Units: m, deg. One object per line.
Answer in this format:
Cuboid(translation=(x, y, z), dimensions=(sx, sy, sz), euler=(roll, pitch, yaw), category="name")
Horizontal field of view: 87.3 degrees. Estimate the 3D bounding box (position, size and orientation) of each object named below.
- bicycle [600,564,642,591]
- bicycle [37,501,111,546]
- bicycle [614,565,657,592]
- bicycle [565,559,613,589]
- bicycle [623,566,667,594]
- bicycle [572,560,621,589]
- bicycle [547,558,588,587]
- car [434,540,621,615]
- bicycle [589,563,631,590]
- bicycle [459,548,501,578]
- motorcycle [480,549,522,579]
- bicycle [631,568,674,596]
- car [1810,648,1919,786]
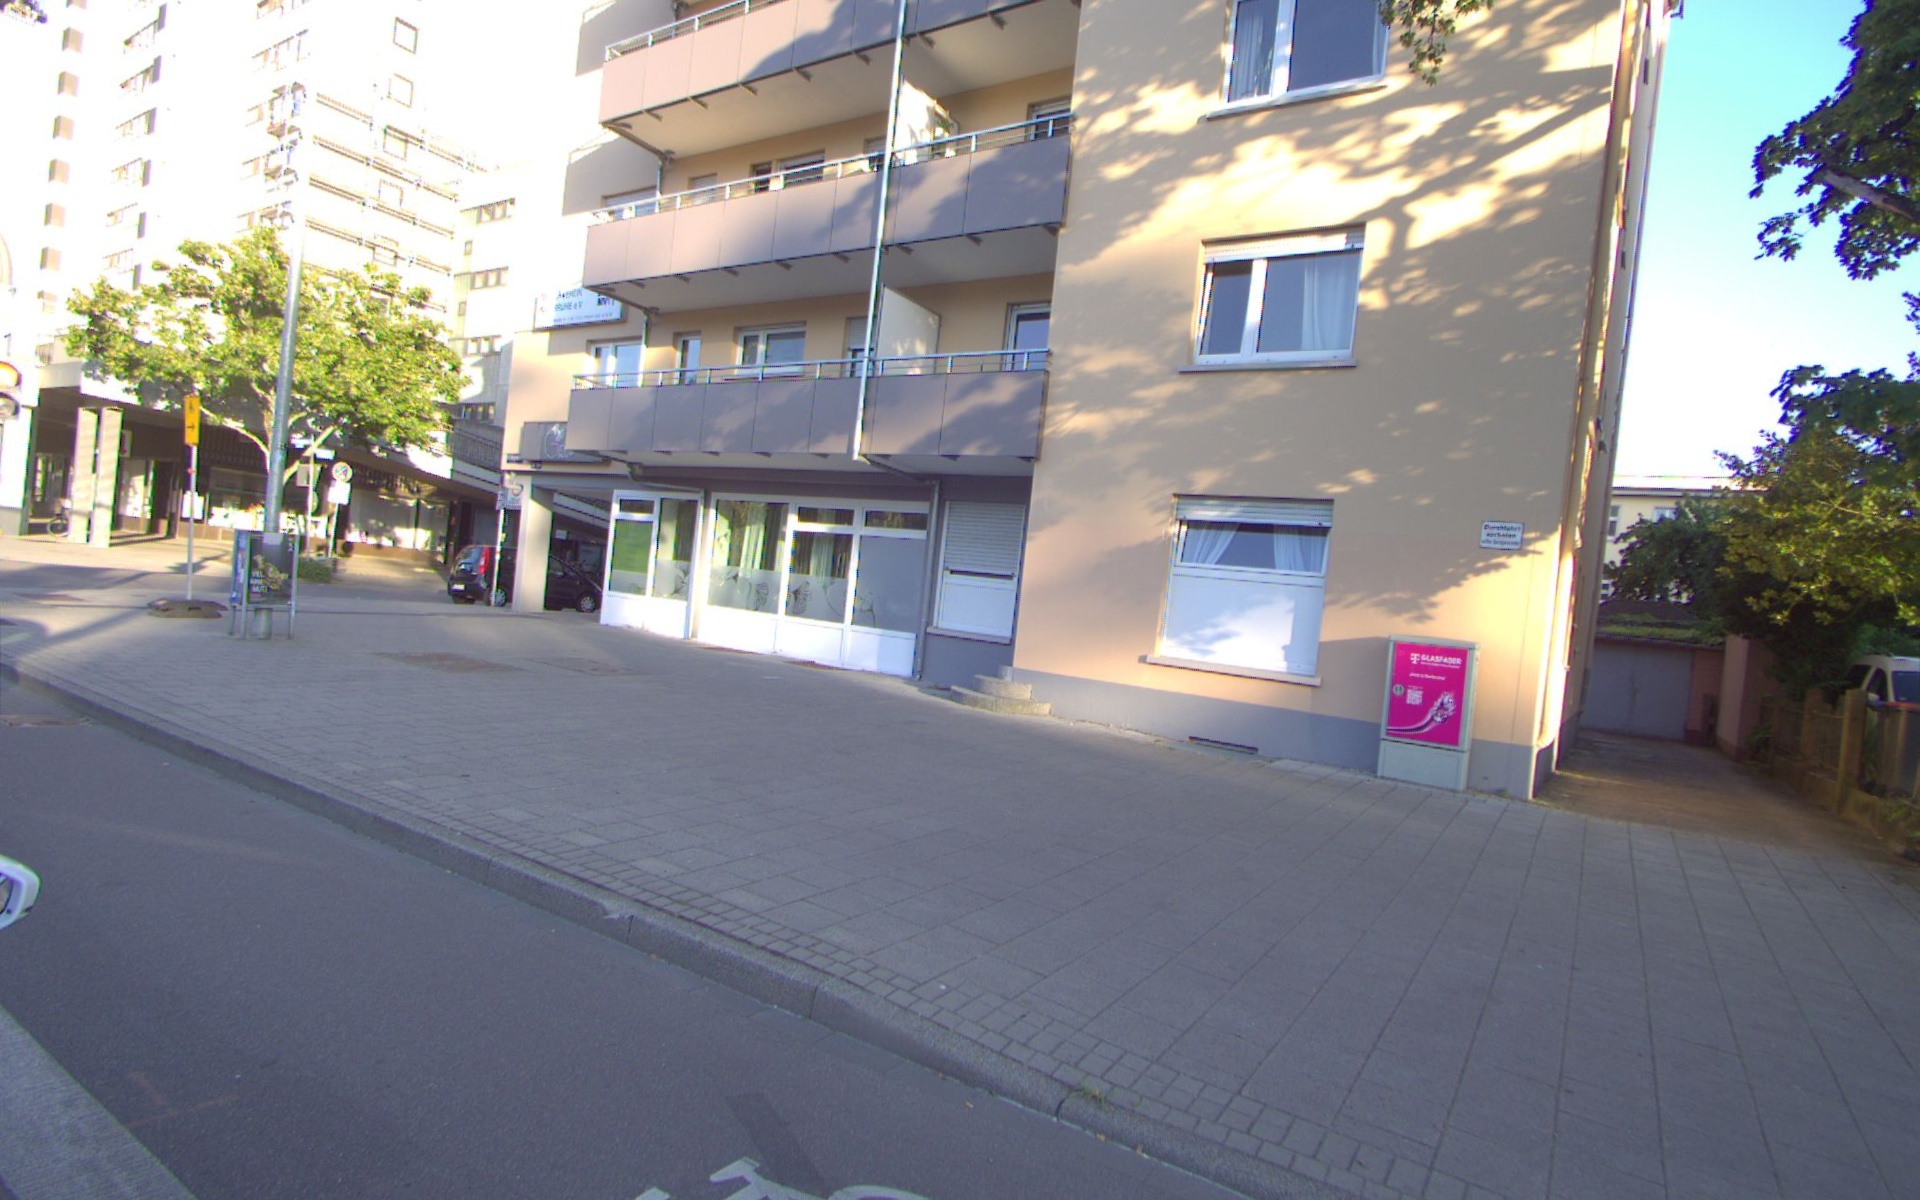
Cuboid(translation=(-15.967, -1.065, 47.396), dimensions=(1.943, 1.087, 0.582), euler=(6, -3, 29), category="bicycle")
Cuboid(translation=(-28.977, -2.505, 32.912), dimensions=(1.984, 1.162, 0.692), euler=(7, -2, 14), category="bicycle")
Cuboid(translation=(-15.393, -1.019, 47.749), dimensions=(1.942, 1.087, 0.583), euler=(6, -3, 26), category="bicycle")
Cuboid(translation=(-17.007, -1.200, 46.103), dimensions=(1.939, 1.087, 0.584), euler=(7, -2, 13), category="bicycle")
Cuboid(translation=(-15.146, -0.960, 48.316), dimensions=(1.941, 1.087, 0.583), euler=(6, -2, 21), category="bicycle")
Cuboid(translation=(-16.816, -1.171, 46.546), dimensions=(1.939, 1.086, 0.584), euler=(7, -2, 9), category="bicycle")
Cuboid(translation=(-17.387, -1.236, 44.549), dimensions=(1.946, 1.086, 0.581), euler=(5, -3, 35), category="bicycle")
Cuboid(translation=(-10.880, -0.526, 25.555), dimensions=(1.680, 1.605, 4.037), euler=(3, -1, 36), category="car")
Cuboid(translation=(-16.333, -1.100, 46.958), dimensions=(1.943, 1.087, 0.582), euler=(6, -3, 29), category="bicycle")
Cuboid(translation=(-20.197, -1.566, 42.334), dimensions=(1.946, 1.086, 0.581), euler=(5, -3, 35), category="bicycle")
Cuboid(translation=(-19.493, -1.512, 42.690), dimensions=(1.848, 1.086, 0.646), euler=(5, -3, 35), category="motorcycle")
Cuboid(translation=(-14.969, -0.885, 48.937), dimensions=(1.941, 1.087, 0.583), euler=(6, -2, 21), category="bicycle")
Cuboid(translation=(14.577, 1.742, 14.968), dimensions=(1.794, 1.780, 4.513), euler=(8, 2, 27), category="car")
